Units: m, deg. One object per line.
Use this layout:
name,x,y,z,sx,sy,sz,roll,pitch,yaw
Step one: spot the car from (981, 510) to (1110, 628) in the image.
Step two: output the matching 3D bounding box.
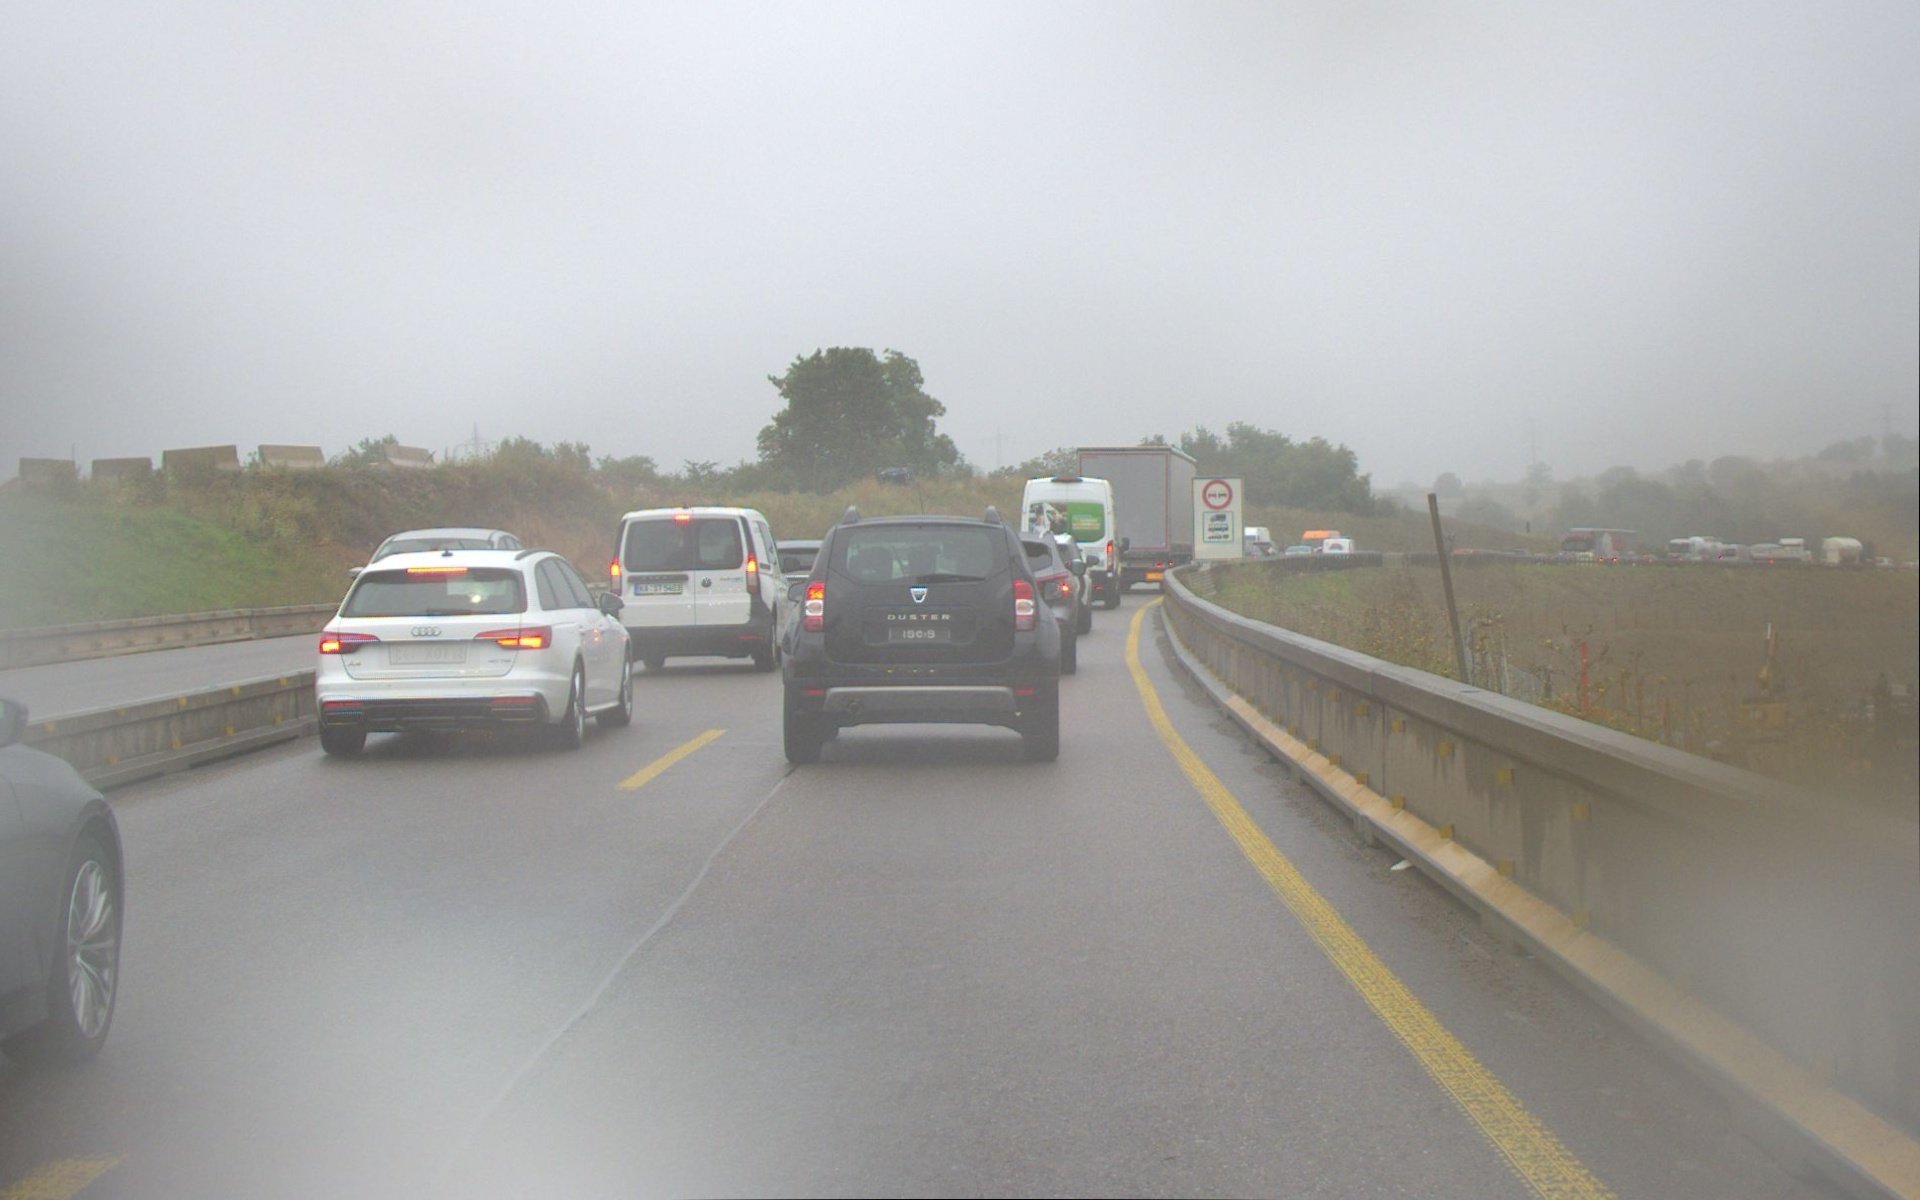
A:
car,1.393,-0.486,54.571,1.826,1.809,3.999,0,0,5

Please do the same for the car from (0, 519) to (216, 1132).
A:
car,-3.231,0.601,7.926,1.735,1.457,5.630,0,3,1

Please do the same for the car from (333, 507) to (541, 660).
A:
car,-6.189,-0.226,41.094,1.790,1.718,4.288,0,1,1

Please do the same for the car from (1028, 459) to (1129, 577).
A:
car,2.570,-1.723,73.662,1.827,2.429,4.157,0,0,6

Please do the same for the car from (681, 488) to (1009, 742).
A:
car,-0.697,0.080,23.542,1.826,1.585,3.999,0,0,4

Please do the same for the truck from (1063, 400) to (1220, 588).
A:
truck,5.272,-2.888,97.951,3.545,5.060,10.438,0,0,8

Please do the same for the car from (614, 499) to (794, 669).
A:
car,-2.840,-0.180,38.847,1.826,1.809,4.000,0,0,-1

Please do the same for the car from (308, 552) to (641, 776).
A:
car,-3.443,0.417,25.071,1.826,1.494,4.000,0,0,0

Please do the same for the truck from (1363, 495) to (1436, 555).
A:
truck,28.108,-4.816,219.325,3.474,3.702,8.412,-1,1,15

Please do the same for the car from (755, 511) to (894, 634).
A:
car,-2.044,-0.416,52.726,1.826,1.809,4.000,0,0,2

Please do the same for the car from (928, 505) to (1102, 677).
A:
car,0.622,-0.111,38.427,1.826,1.809,4.000,0,0,1
